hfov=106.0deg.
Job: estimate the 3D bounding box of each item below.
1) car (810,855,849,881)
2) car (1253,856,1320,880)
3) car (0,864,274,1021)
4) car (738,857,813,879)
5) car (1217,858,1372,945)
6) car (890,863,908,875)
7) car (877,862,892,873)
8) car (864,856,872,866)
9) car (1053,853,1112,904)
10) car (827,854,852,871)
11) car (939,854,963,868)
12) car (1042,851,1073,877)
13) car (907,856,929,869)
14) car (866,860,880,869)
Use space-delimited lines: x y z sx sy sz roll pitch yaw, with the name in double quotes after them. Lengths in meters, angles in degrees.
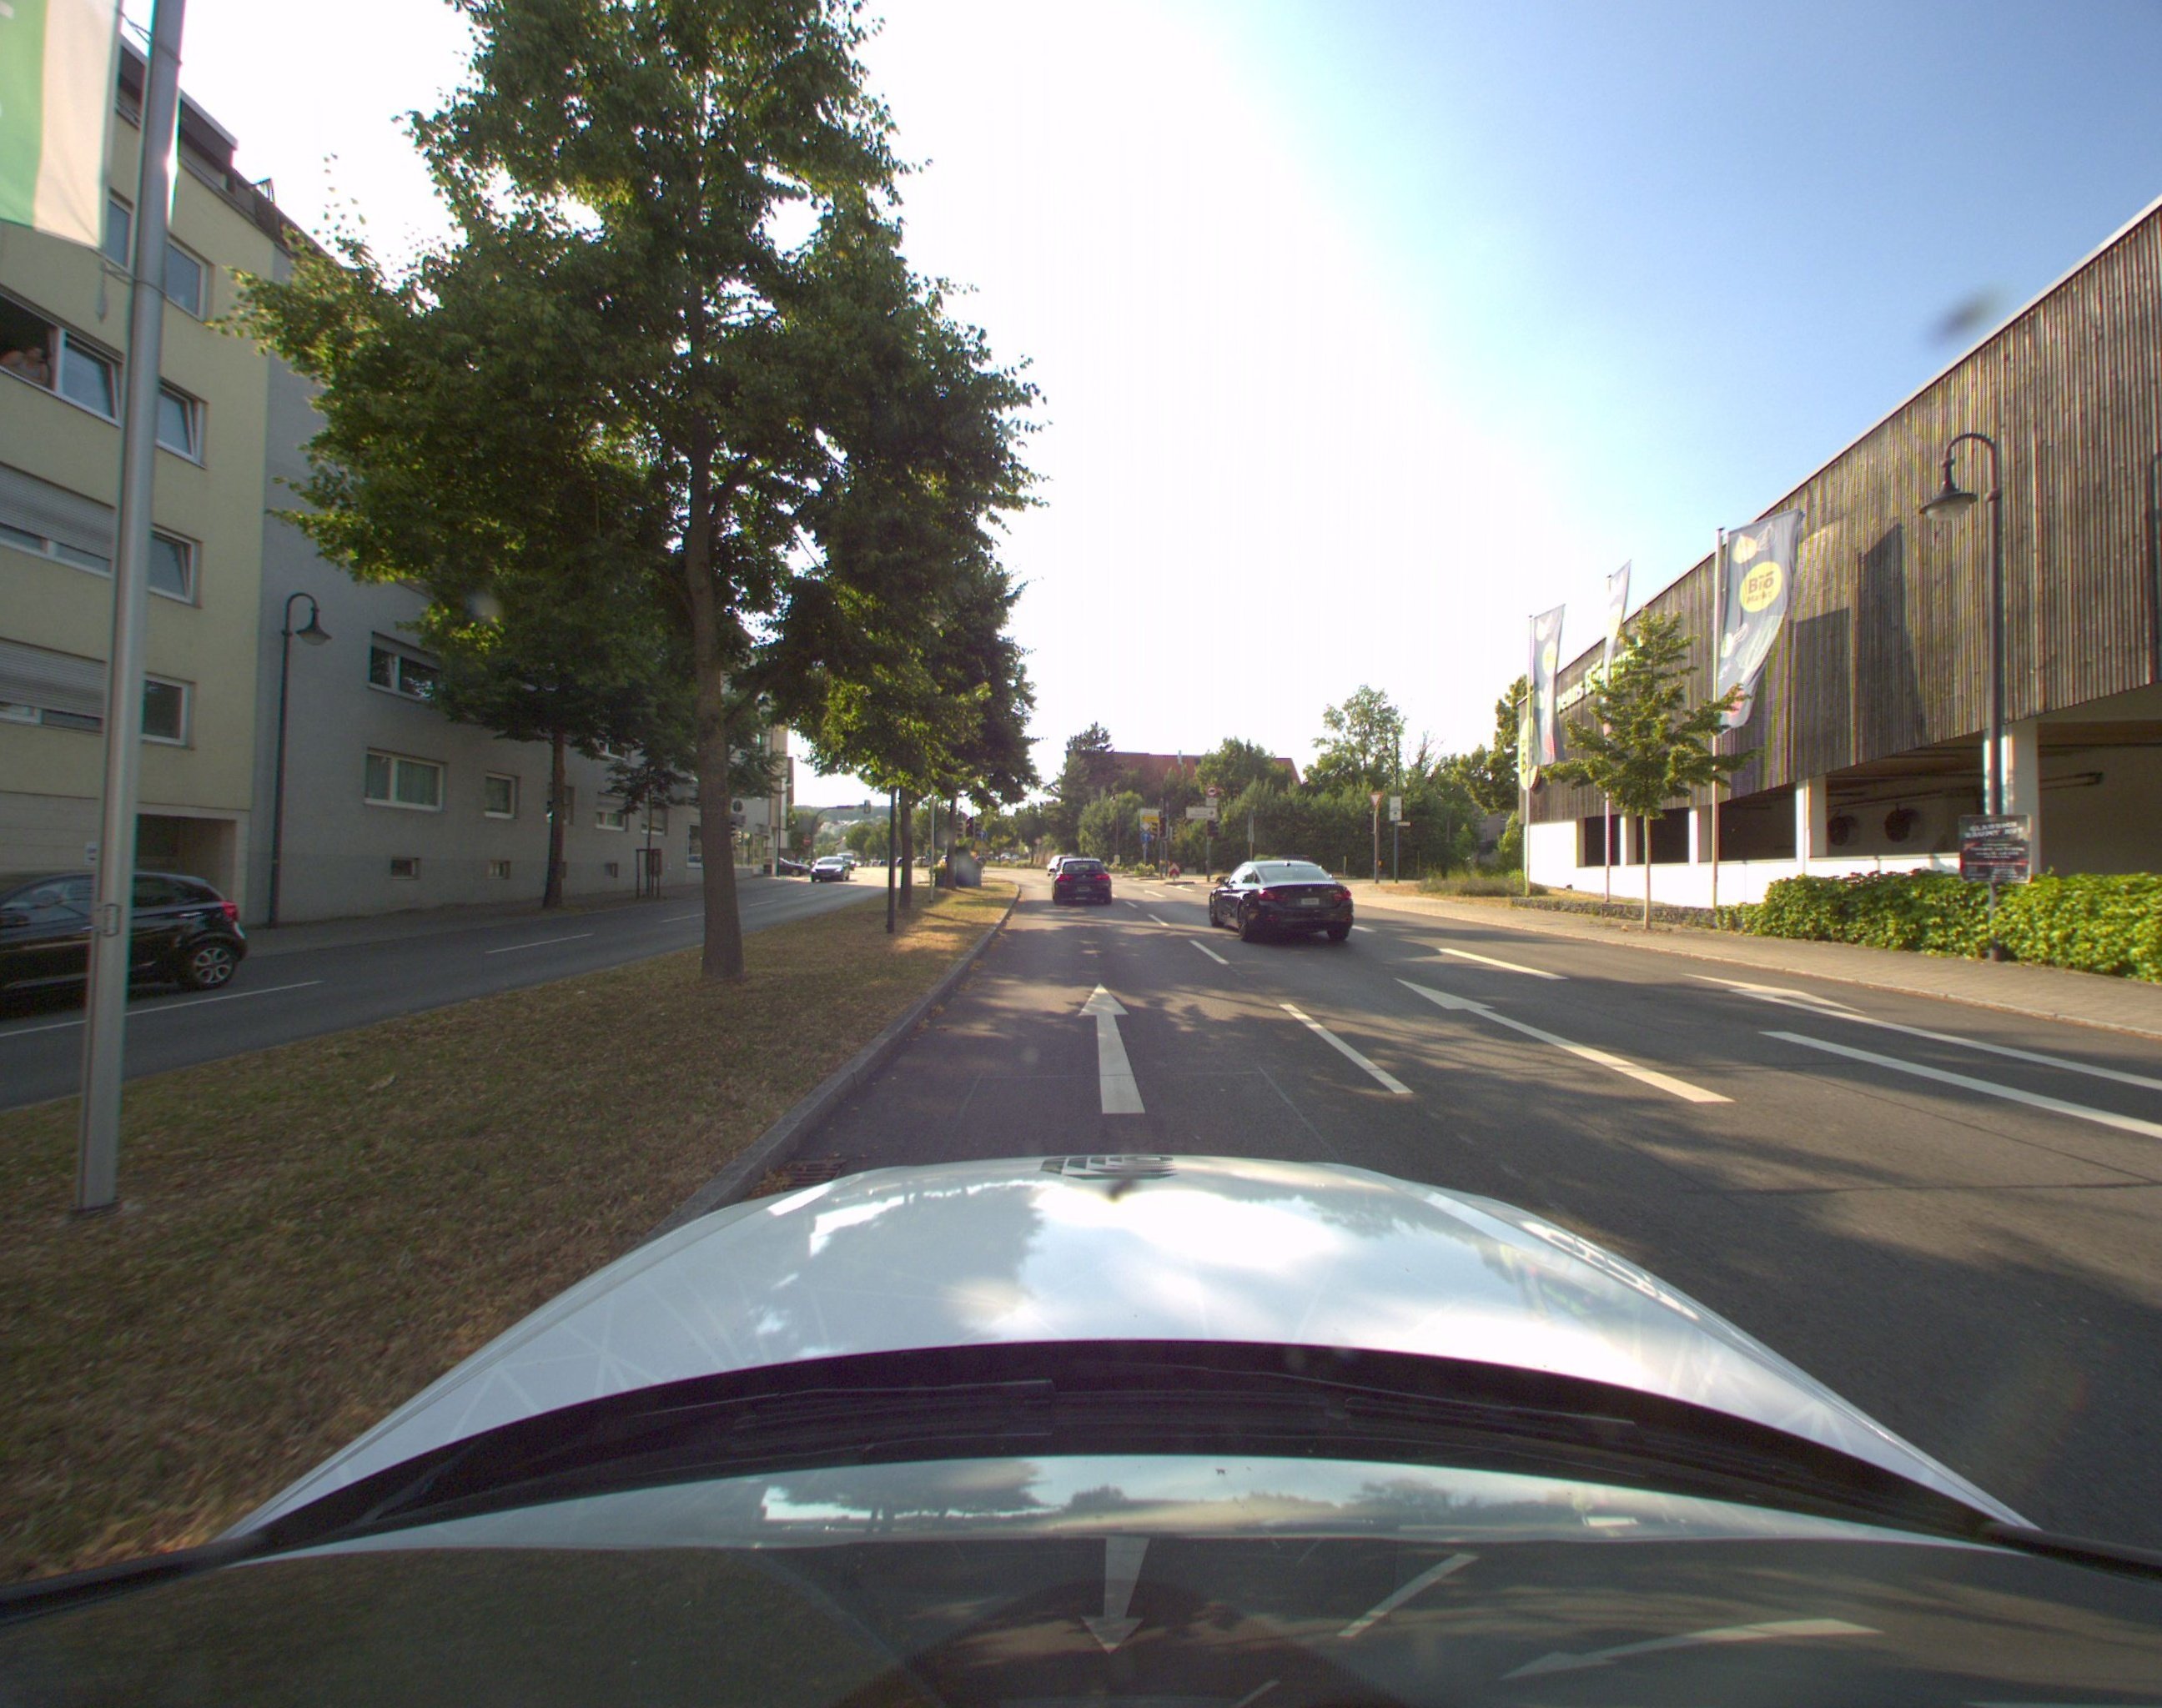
-15.258 0.827 49.652 1.854 1.486 4.974 -1 0 -13 "car"
14.313 0.952 56.741 4.216 1.567 1.804 0 0 31 "car"
-11.210 0.877 8.605 1.601 1.486 3.782 -1 0 -1 "car"
-21.936 0.989 58.679 4.867 1.436 1.907 -1 -1 -15 "car"
3.776 0.778 15.189 1.913 1.364 4.355 -1 -1 2 "car"
-29.434 2.426 131.273 2.225 1.769 4.423 0 0 -21 "car"
-36.180 2.478 149.729 2.225 1.859 4.423 0 0 -21 "car"
-46.613 1.548 178.178 1.776 2.014 3.978 0 0 -16 "car"
0.129 0.737 26.089 1.714 1.490 4.355 0 0 2 "car"
-25.389 0.858 85.540 1.862 1.736 4.881 -1 0 -25 "car"
-16.503 0.875 103.102 2.225 1.769 4.423 0 0 -21 "car"
-1.699 0.693 57.385 1.922 1.769 4.445 0 0 -6 "car"
-22.975 1.127 114.673 2.225 1.769 4.423 0 0 -21 "car"
-42.414 2.206 166.265 2.225 1.769 4.423 0 0 -21 "car"
